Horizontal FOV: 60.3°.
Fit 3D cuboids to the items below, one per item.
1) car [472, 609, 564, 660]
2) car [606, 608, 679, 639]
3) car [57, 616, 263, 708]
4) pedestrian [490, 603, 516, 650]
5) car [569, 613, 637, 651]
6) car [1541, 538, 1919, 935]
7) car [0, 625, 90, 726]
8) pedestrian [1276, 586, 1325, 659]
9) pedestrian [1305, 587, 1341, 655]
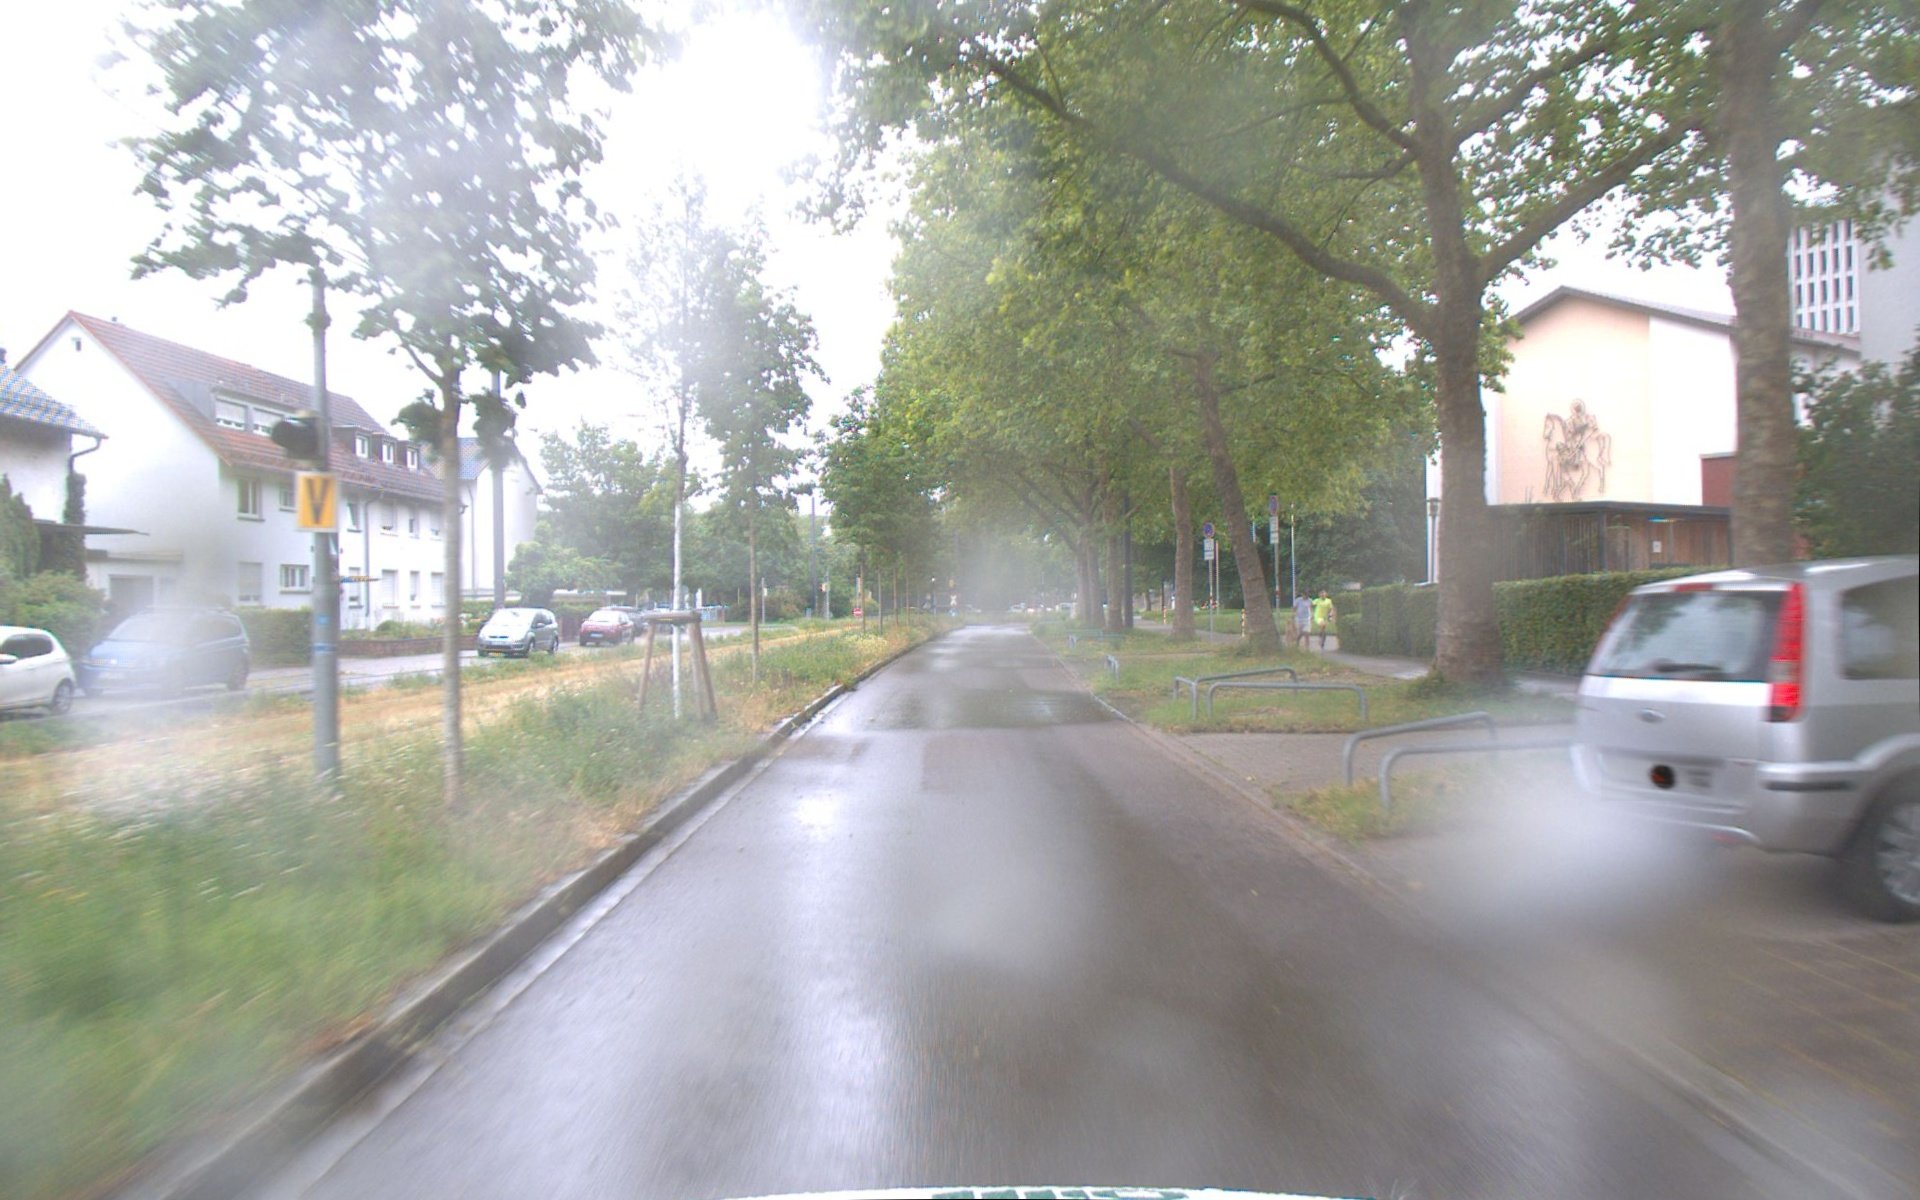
[{"bbox_3d":[-15.245,1.162,57.264,1.952,1.608,4.517,0,0,0],"label":"car"},{"bbox_3d":[-18.780,1.377,97.895,3.906,1.645,1.999,-2,0,-2],"label":"car"},{"bbox_3d":[-15.939,1.194,33.227,1.952,1.642,4.413,0,0,0],"label":"car"},{"bbox_3d":[-17.565,1.014,63.621,0.687,1.786,0.854,-2,0,1],"label":"pedestrian"},{"bbox_3d":[-15.273,1.343,70.982,1.952,1.514,4.205,0,0,0],"label":"car"},{"bbox_3d":[4.996,0.482,8.078,3.791,1.593,1.613,-3,0,-15],"label":"car"},{"bbox_3d":[-15.897,1.204,26.729,1.759,1.514,3.597,0,0,0],"label":"car"},{"bbox_3d":[7.593,0.502,36.921,0.817,1.565,0.859,-2,0,-4],"label":"pedestrian"},{"bbox_3d":[8.492,0.488,38.715,0.545,1.565,0.966,-2,0,-4],"label":"pedestrian"}]
